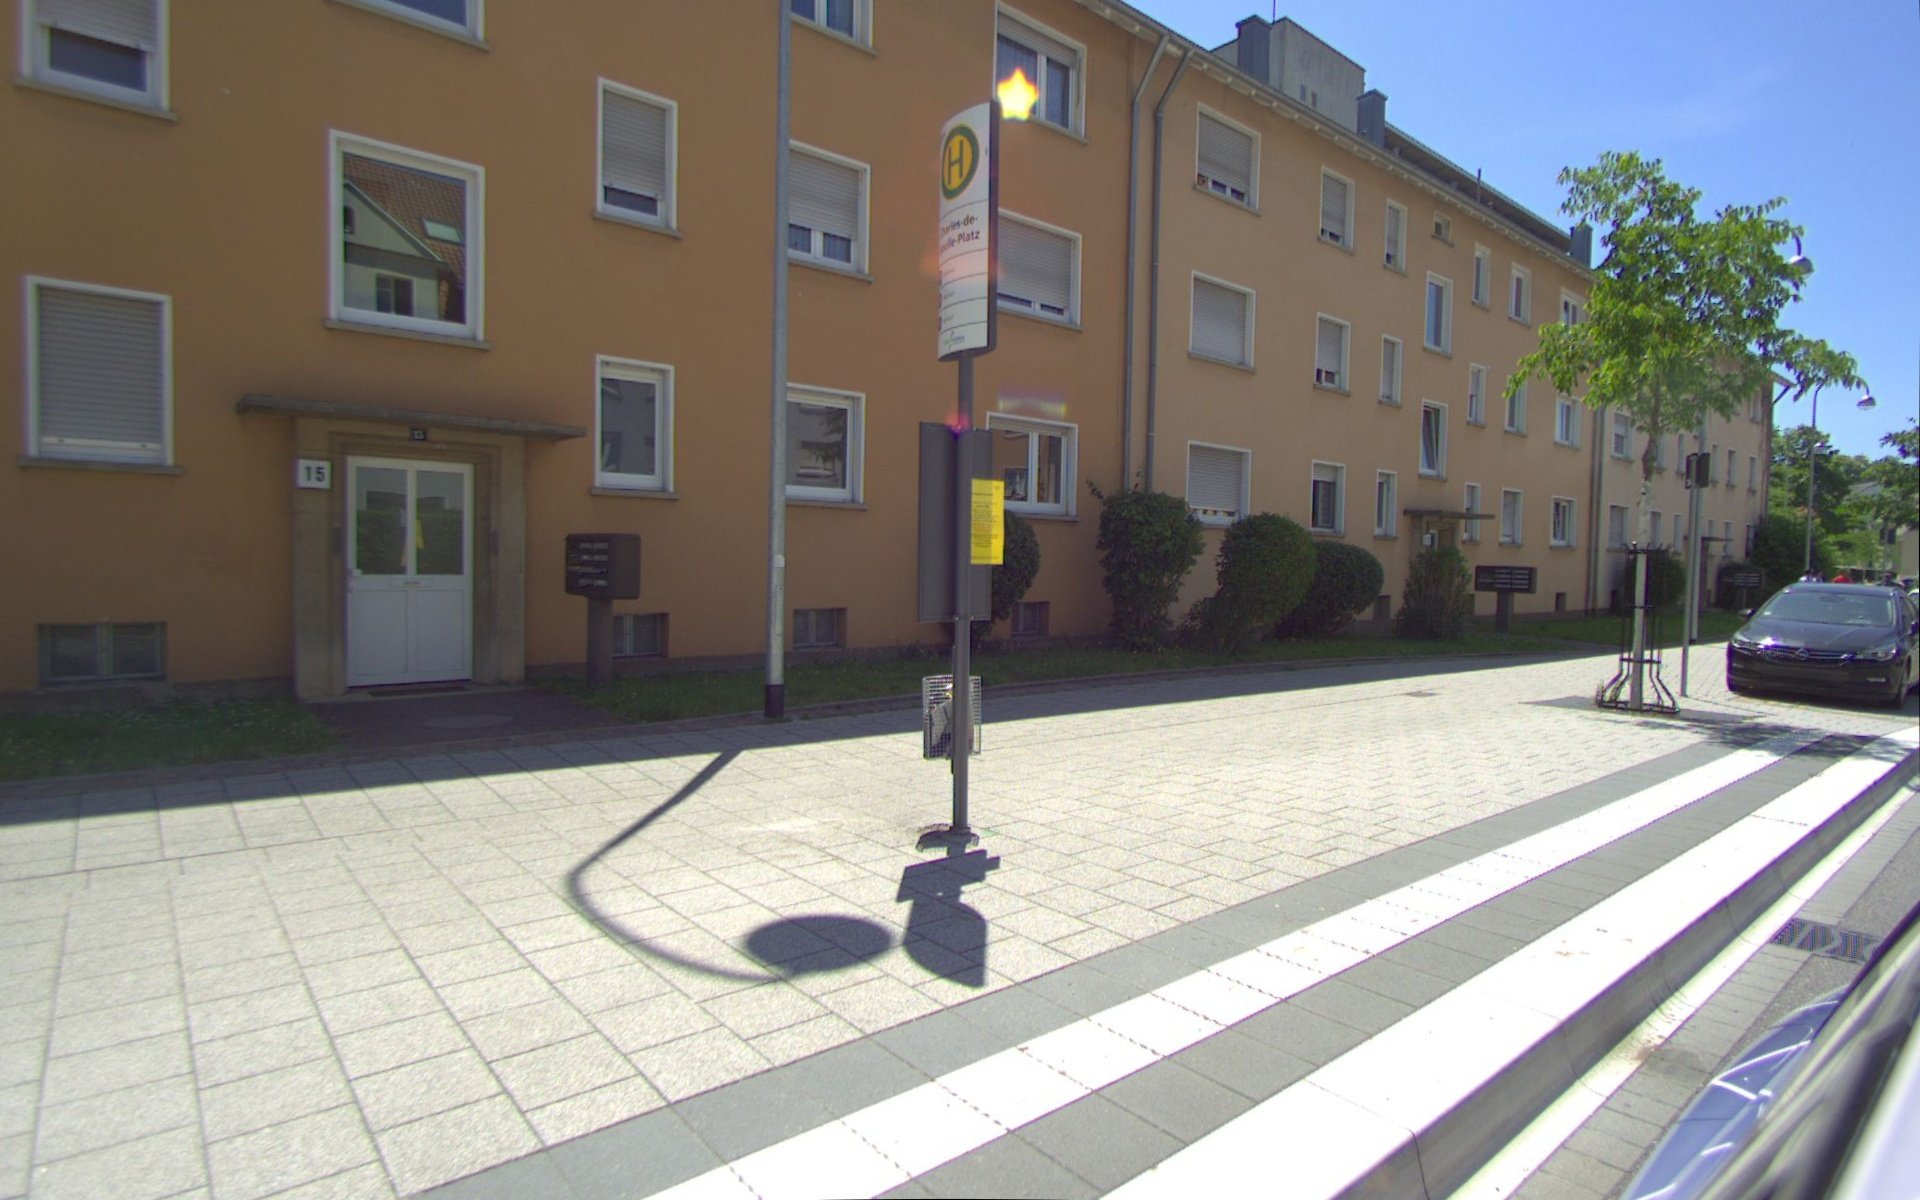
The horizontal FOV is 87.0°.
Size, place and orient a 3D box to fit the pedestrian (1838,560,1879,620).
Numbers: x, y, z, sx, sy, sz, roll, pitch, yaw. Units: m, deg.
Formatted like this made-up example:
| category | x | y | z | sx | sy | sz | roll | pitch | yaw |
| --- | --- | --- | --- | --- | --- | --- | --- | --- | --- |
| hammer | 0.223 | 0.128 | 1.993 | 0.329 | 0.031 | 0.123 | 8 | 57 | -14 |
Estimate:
| category | x | y | z | sx | sy | sz | roll | pitch | yaw |
| --- | --- | --- | --- | --- | --- | --- | --- | --- | --- |
| pedestrian | 28.892 | -0.339 | 32.541 | 0.989 | 1.832 | 0.789 | -1 | 5 | -44 |

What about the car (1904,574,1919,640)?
| category | x | y | z | sx | sy | sz | roll | pitch | yaw |
| --- | --- | --- | --- | --- | --- | --- | --- | --- | --- |
| car | 24.421 | 0.182 | 24.669 | 4.434 | 1.494 | 1.815 | -2 | 5 | -45 |

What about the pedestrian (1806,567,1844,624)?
| category | x | y | z | sx | sy | sz | roll | pitch | yaw |
| --- | --- | --- | --- | --- | --- | --- | --- | --- | --- |
| pedestrian | 28.600 | -0.163 | 33.460 | 0.992 | 1.800 | 0.794 | -1 | 3 | -44 |

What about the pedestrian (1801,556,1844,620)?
| category | x | y | z | sx | sy | sz | roll | pitch | yaw |
| --- | --- | --- | --- | --- | --- | --- | --- | --- | --- |
| pedestrian | 26.022 | -0.381 | 30.535 | 0.968 | 1.876 | 0.821 | 0 | 2 | -44 |

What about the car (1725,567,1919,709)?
| category | x | y | z | sx | sy | sz | roll | pitch | yaw |
| --- | --- | --- | --- | --- | --- | --- | --- | --- | --- |
| car | 12.252 | 0.396 | 13.793 | 4.975 | 1.522 | 1.838 | 0 | 5 | -41 |

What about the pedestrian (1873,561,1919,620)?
| category | x | y | z | sx | sy | sz | roll | pitch | yaw |
| --- | --- | --- | --- | --- | --- | --- | --- | --- | --- |
| pedestrian | 29.866 | -0.316 | 32.091 | 1.172 | 1.753 | 1.172 | -2 | 6 | -45 |
